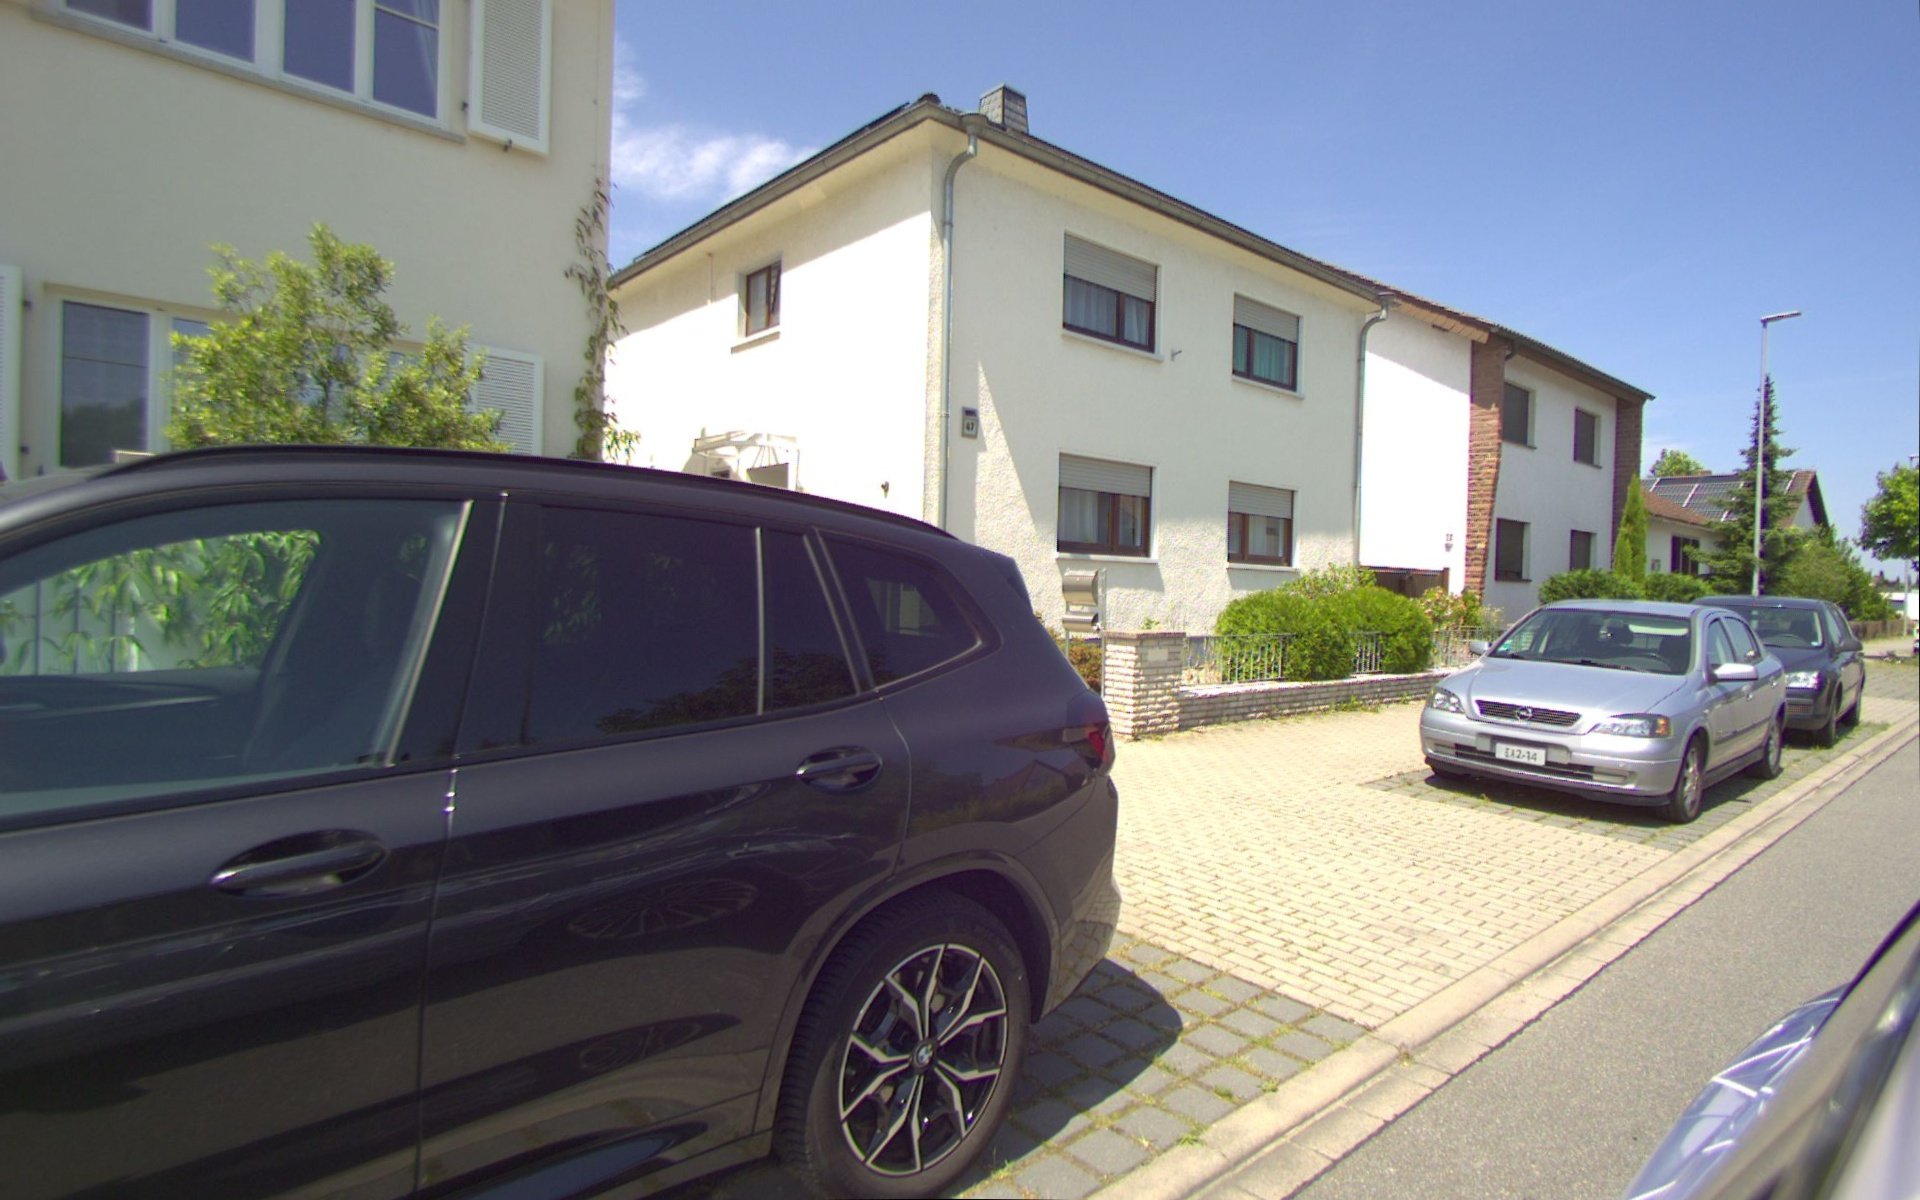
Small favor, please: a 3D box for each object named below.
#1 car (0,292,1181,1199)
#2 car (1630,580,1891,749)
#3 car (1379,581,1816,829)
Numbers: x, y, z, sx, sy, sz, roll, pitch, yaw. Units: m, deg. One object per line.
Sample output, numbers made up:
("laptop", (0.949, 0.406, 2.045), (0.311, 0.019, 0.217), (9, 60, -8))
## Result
("car", (-1.697, 0.431, 2.013), (4.484, 1.677, 1.818), (1, 1, -41))
("car", (9.354, 0.606, 11.681), (4.374, 1.552, 1.743), (0, 1, -44))
("car", (5.186, 0.631, 8.024), (4.021, 1.438, 1.818), (1, 1, -41))
